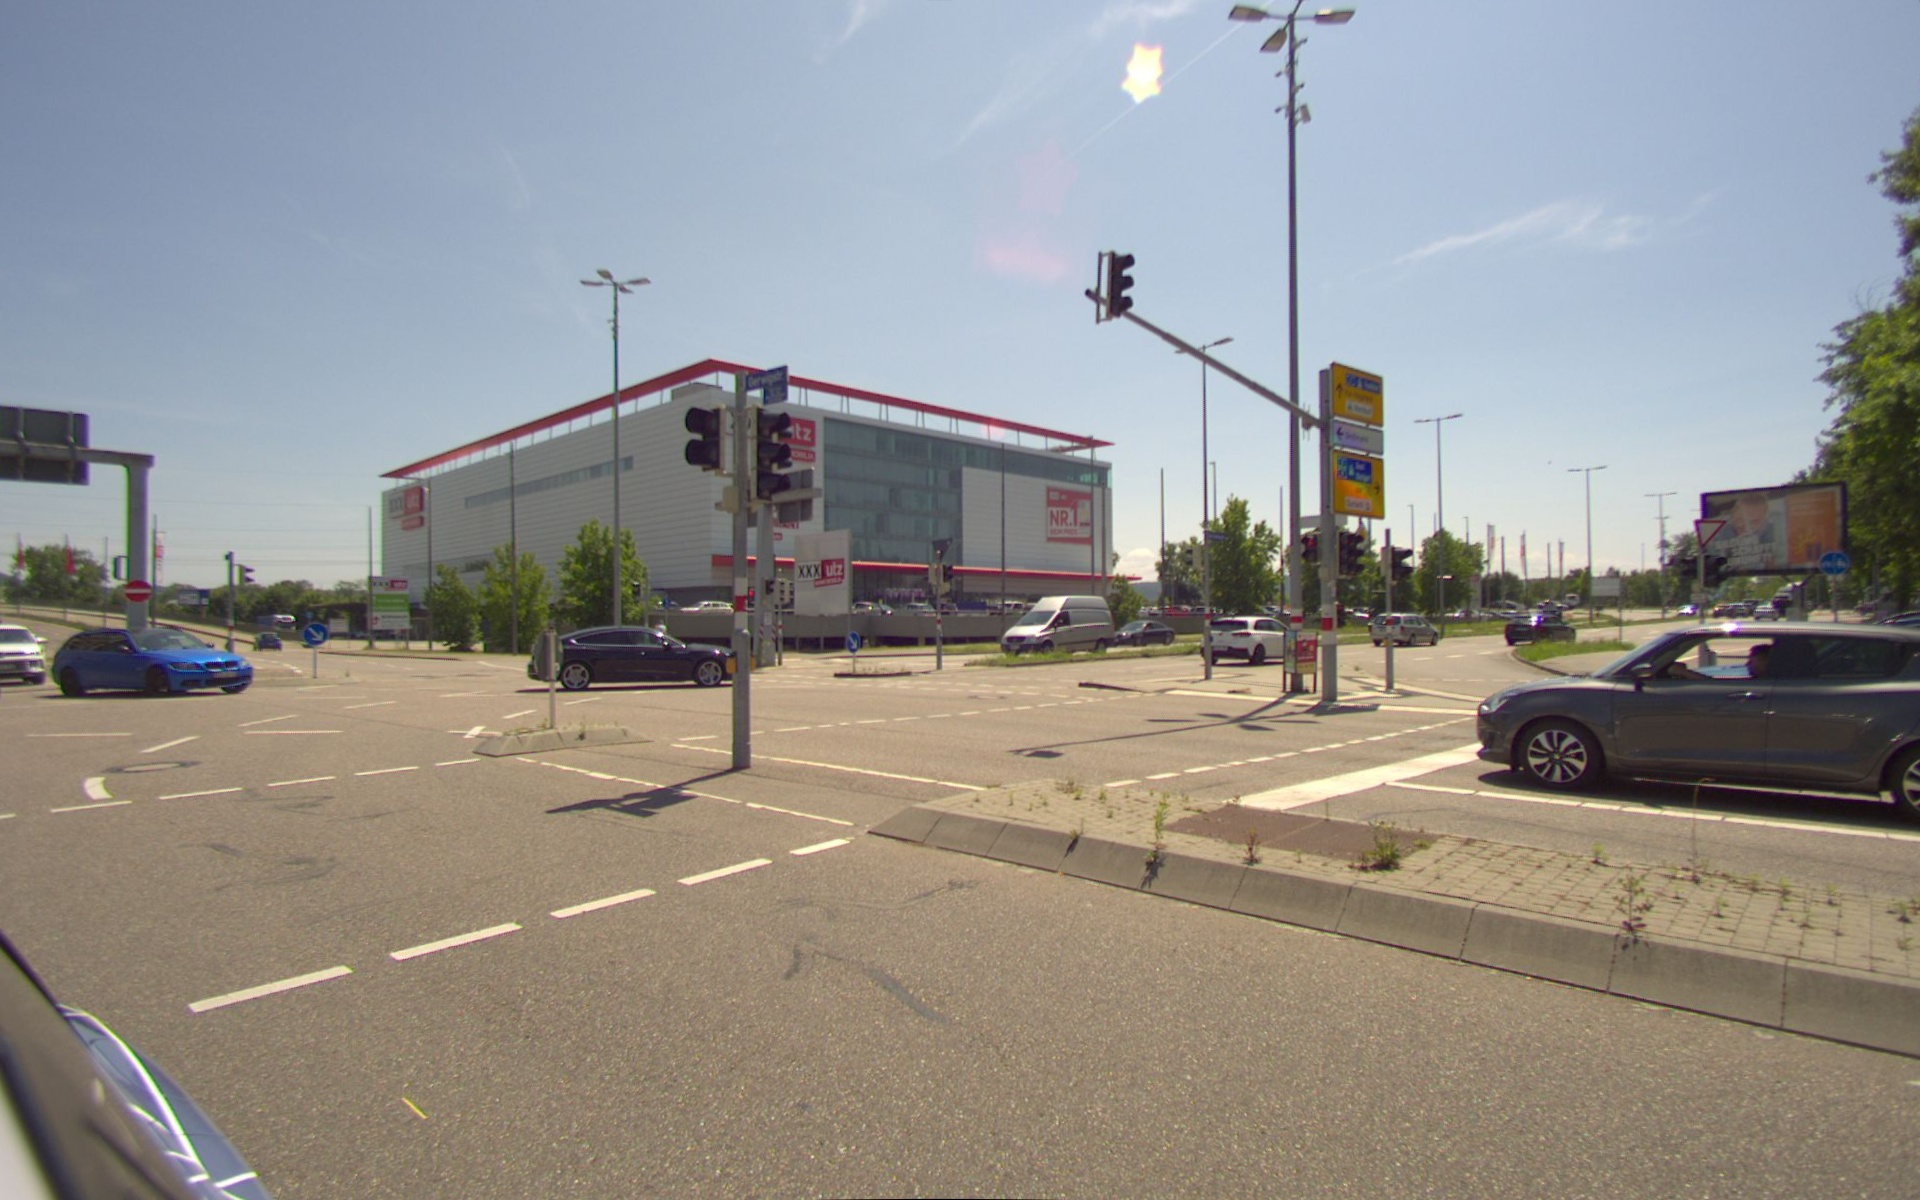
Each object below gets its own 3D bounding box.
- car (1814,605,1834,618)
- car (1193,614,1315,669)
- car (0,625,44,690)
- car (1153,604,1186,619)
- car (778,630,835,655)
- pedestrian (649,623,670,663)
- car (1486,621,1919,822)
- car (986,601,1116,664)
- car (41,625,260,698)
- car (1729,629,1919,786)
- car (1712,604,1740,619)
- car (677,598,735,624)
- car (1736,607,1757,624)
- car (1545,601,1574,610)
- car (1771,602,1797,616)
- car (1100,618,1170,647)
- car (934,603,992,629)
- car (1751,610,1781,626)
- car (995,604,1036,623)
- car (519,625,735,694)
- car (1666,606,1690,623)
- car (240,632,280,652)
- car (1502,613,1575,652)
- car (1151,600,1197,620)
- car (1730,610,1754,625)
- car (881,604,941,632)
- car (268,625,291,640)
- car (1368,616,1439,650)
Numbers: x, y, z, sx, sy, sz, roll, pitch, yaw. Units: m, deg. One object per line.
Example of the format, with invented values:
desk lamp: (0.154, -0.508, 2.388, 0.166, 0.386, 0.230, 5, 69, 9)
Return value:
car: (110.343, 1.447, 129.236, 3.370, 1.564, 1.555, 1, -2, -44)
car: (9.094, 1.239, 31.153, 4.009, 1.447, 1.795, -2, -1, -43)
car: (-26.176, 1.554, 27.587, 1.744, 1.653, 4.496, -1, -1, -42)
car: (28.386, 1.568, 137.221, 3.999, 2.029, 1.972, -2, -2, 42)
car: (-11.563, 3.177, 76.197, 1.998, 1.719, 3.947, -2, -2, 39)
pedestrian: (-13.707, 1.963, 46.200, 0.596, 1.797, 0.827, 1, -2, -44)
car: (6.578, 0.893, 8.314, 3.716, 1.400, 1.625, -1, -3, 43)
car: (3.449, 1.184, 37.733, 4.972, 2.200, 2.002, 0, -2, -43)
car: (-17.467, 1.297, 21.840, 4.400, 1.413, 1.758, -1, -1, 22)
car: (9.817, 0.998, 9.482, 4.038, 1.435, 1.642, -1, -2, 42)
car: (82.877, 1.272, 109.496, 3.554, 1.564, 1.927, 1, -2, -44)
car: (-20.587, 0.906, 82.139, 1.679, 2.029, 4.410, -2, -2, 43)
car: (91.841, 1.763, 118.173, 1.628, 1.927, 3.449, -2, -2, 42)
car: (98.569, 0.962, 166.288, 3.999, 1.433, 1.678, -1, -2, 34)
car: (93.400, 1.022, 114.709, 2.000, 1.564, 3.943, -2, -2, 43)
car: (9.520, 1.736, 54.843, 1.860, 1.519, 3.942, -2, -2, 44)
car: (0.210, 1.295, 80.992, 4.324, 2.029, 1.974, -2, -2, 39)
car: (83.320, 1.877, 104.643, 2.001, 1.564, 3.942, -2, -2, 44)
car: (5.783, 1.442, 106.035, 4.001, 1.915, 1.971, -2, -2, 44)
car: (-7.337, 1.282, 22.533, 4.390, 1.415, 1.682, 0, -2, -17)
car: (86.532, 1.718, 121.927, 1.816, 2.029, 3.943, -2, -2, 43)
car: (-59.453, 3.566, 85.922, 4.000, 1.608, 1.972, -1, -1, 43)
car: (27.436, 1.590, 47.967, 1.804, 1.452, 4.490, -9, -11, 44)
car: (22.060, 1.037, 104.435, 4.330, 2.029, 1.972, -2, -2, 43)
car: (87.637, 1.961, 113.442, 3.370, 1.564, 1.646, 1, -2, -44)
car: (-3.759, 1.400, 77.064, 4.325, 2.029, 1.974, -2, -2, 39)
car: (-108.736, 5.141, 161.662, 2.161, 2.300, 4.816, 1, -2, -45)
car: (20.121, 1.493, 45.856, 1.698, 1.433, 3.951, -3, -4, 44)
